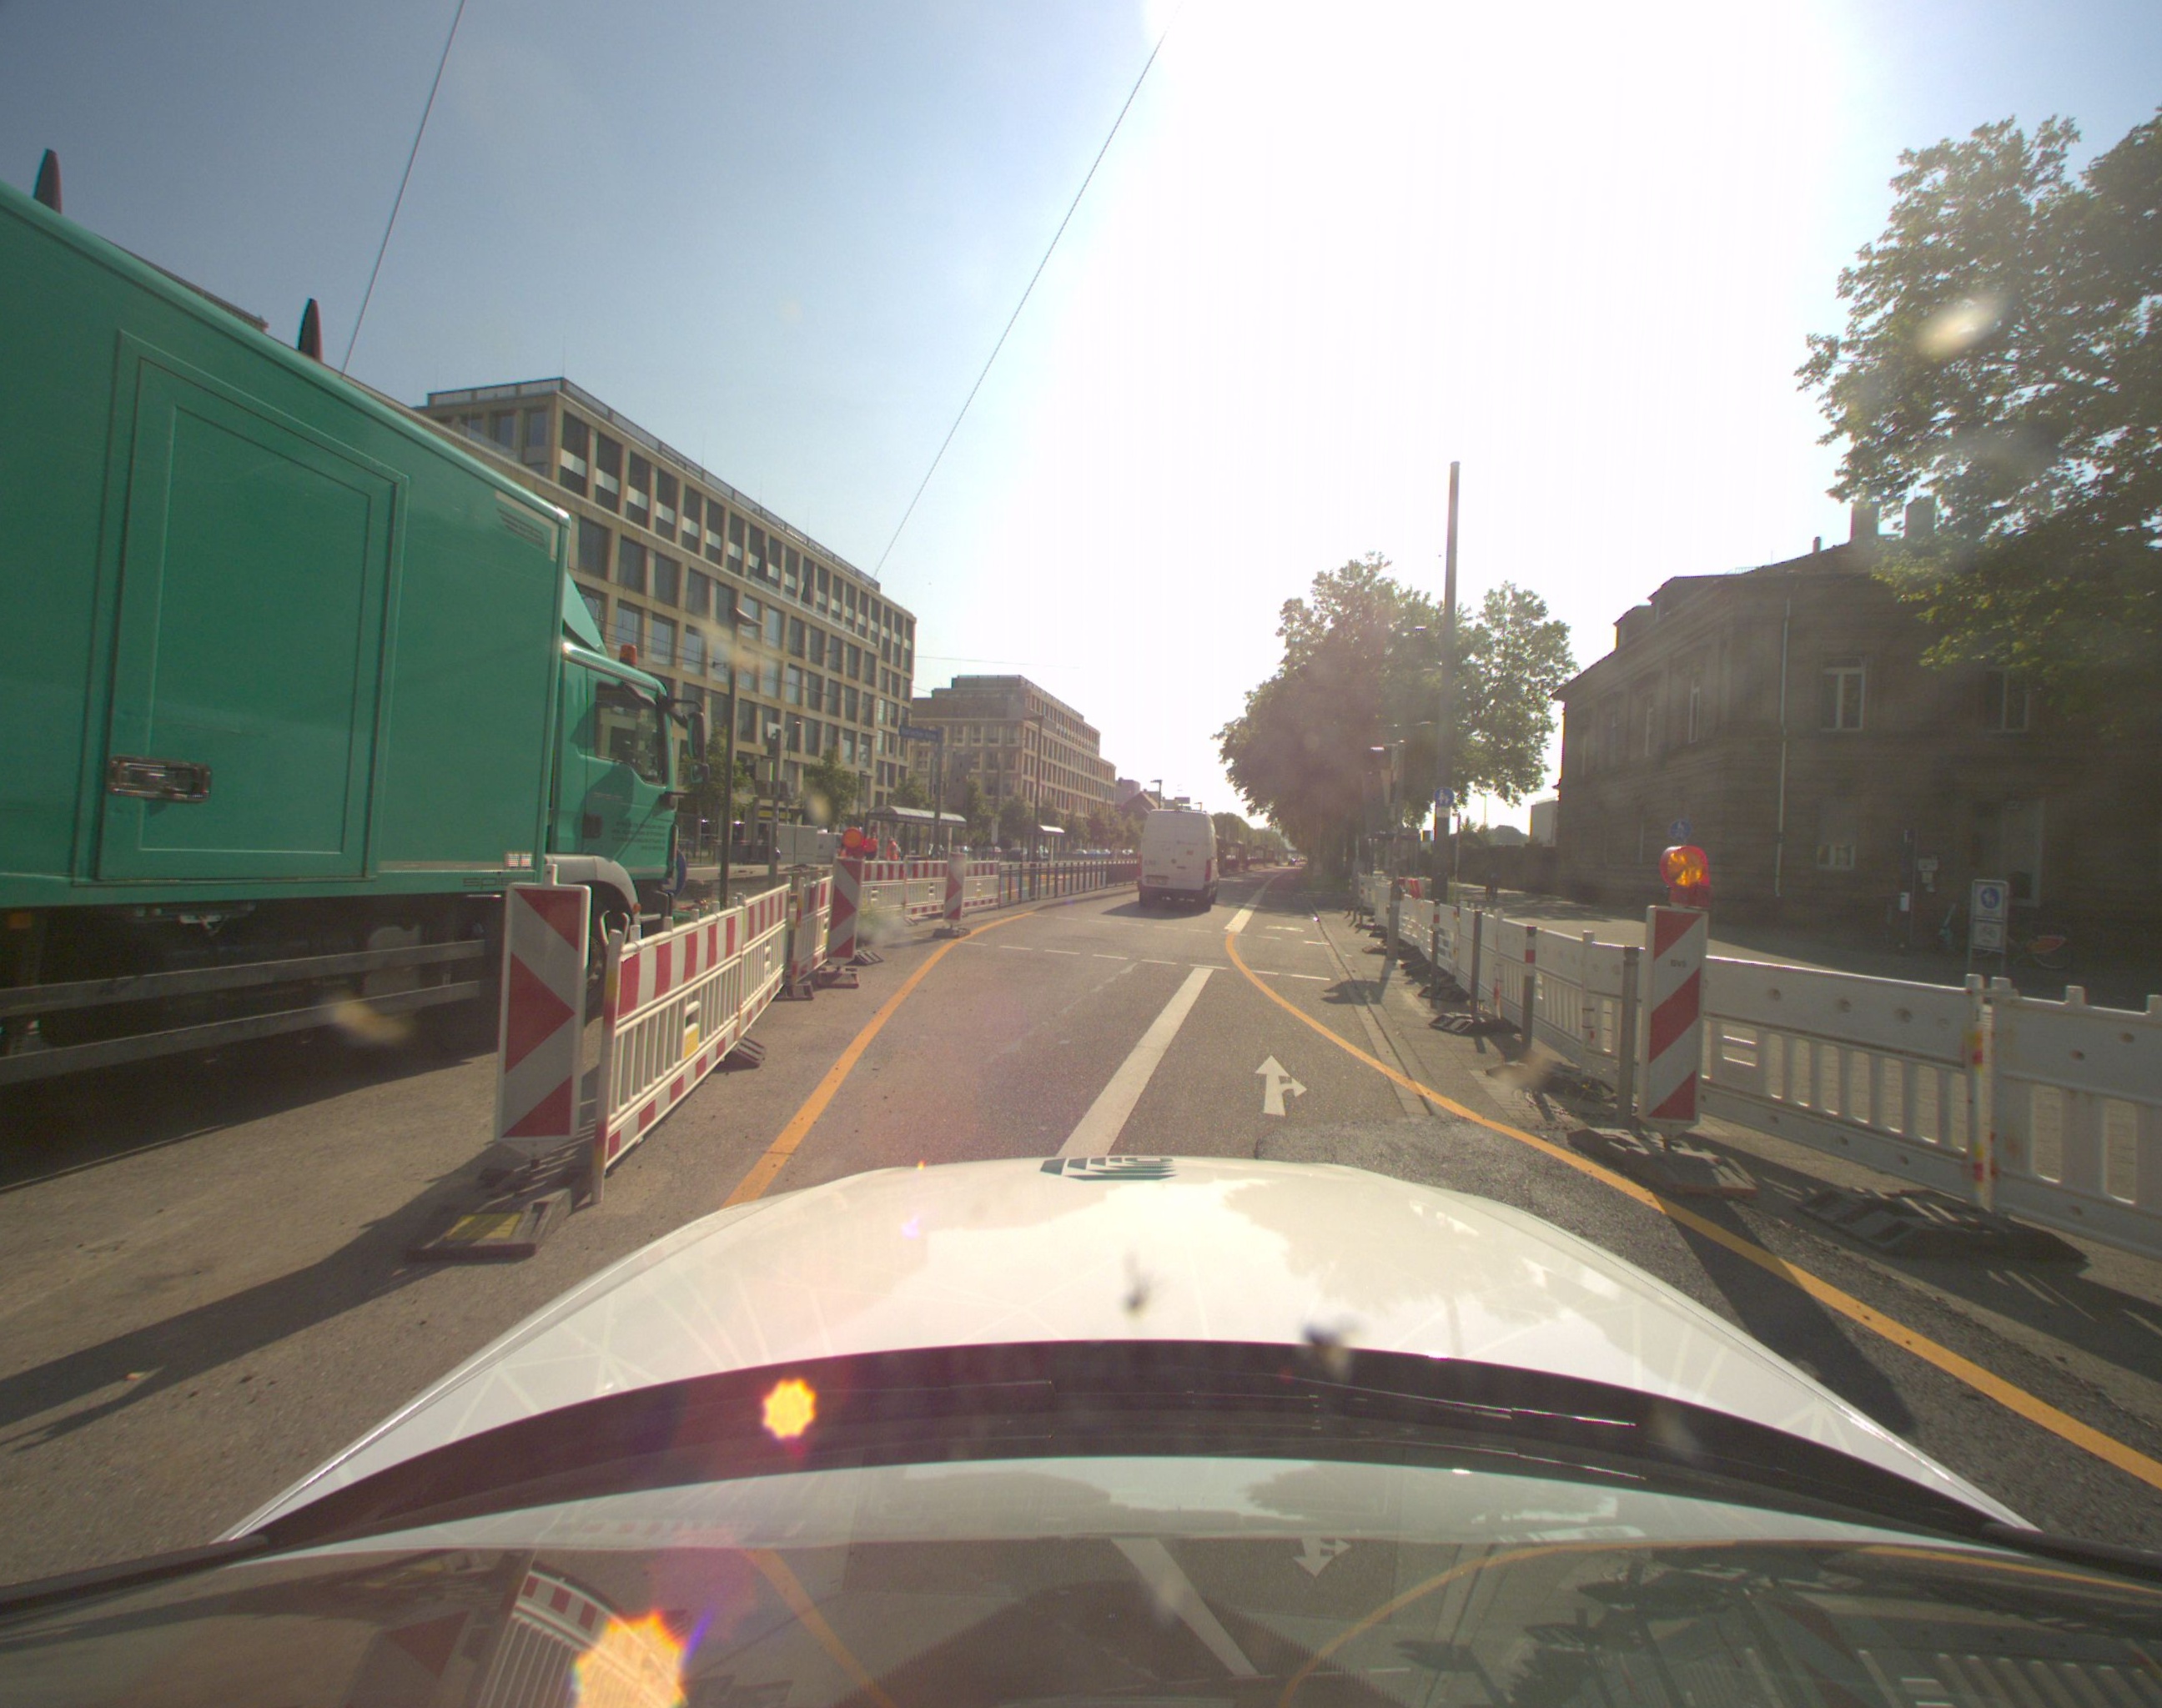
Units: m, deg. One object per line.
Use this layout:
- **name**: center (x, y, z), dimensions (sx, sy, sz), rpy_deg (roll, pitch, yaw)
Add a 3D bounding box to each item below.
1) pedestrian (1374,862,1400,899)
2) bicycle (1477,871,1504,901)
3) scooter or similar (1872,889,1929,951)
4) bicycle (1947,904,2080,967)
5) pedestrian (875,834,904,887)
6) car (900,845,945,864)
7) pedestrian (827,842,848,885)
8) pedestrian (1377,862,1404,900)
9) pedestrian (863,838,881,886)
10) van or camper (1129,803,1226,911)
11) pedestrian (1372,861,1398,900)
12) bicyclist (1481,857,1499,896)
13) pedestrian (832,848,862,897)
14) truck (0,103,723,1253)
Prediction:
- **pedestrian**: center (10.697, 0.927, 28.512), dimensions (0.735, 1.261, 0.614), rpy_deg (3, -1, 15)
- **bicycle**: center (16.451, 1.268, 32.729), dimensions (0.488, 1.089, 1.863), rpy_deg (2, 1, 12)
- **scooter or similar**: center (17.733, 1.409, 17.647), dimensions (0.422, 1.228, 1.179), rpy_deg (1, 0, 22)
- **bicycle**: center (18.801, 1.626, 16.491), dimensions (0.490, 0.999, 1.816), rpy_deg (2, 3, -3)
- **pedestrian**: center (-7.301, 0.240, 31.063), dimensions (0.716, 1.950, 0.793), rpy_deg (1, 0, 30)
- **car**: center (-12.307, 0.003, 63.632), dimensions (1.671, 1.407, 4.390), rpy_deg (1, 0, 14)
- **pedestrian**: center (-8.958, 0.343, 29.943), dimensions (0.639, 1.554, 0.624), rpy_deg (1, 0, -11)
- **pedestrian**: center (10.542, 0.916, 27.731), dimensions (0.735, 1.261, 0.614), rpy_deg (3, -1, 15)
- **pedestrian**: center (-8.030, 0.301, 31.313), dimensions (0.626, 1.815, 0.637), rpy_deg (1, 0, -17)
- **van or camper**: center (2.954, 0.061, 23.736), dimensions (2.101, 2.681, 5.269), rpy_deg (3, 1, 13)
- **pedestrian**: center (10.885, 0.940, 29.157), dimensions (0.745, 1.366, 0.614), rpy_deg (3, -1, 15)
- **bicyclist**: center (16.448, 0.901, 32.730), dimensions (0.466, 1.539, 0.598), rpy_deg (2, 0, 11)
- **pedestrian**: center (-8.166, 0.631, 28.425), dimensions (0.776, 1.663, 0.661), rpy_deg (1, 1, -41)
- **truck**: center (-5.055, -0.635, 3.406), dimensions (2.780, 3.912, 8.427), rpy_deg (3, 1, 3)
